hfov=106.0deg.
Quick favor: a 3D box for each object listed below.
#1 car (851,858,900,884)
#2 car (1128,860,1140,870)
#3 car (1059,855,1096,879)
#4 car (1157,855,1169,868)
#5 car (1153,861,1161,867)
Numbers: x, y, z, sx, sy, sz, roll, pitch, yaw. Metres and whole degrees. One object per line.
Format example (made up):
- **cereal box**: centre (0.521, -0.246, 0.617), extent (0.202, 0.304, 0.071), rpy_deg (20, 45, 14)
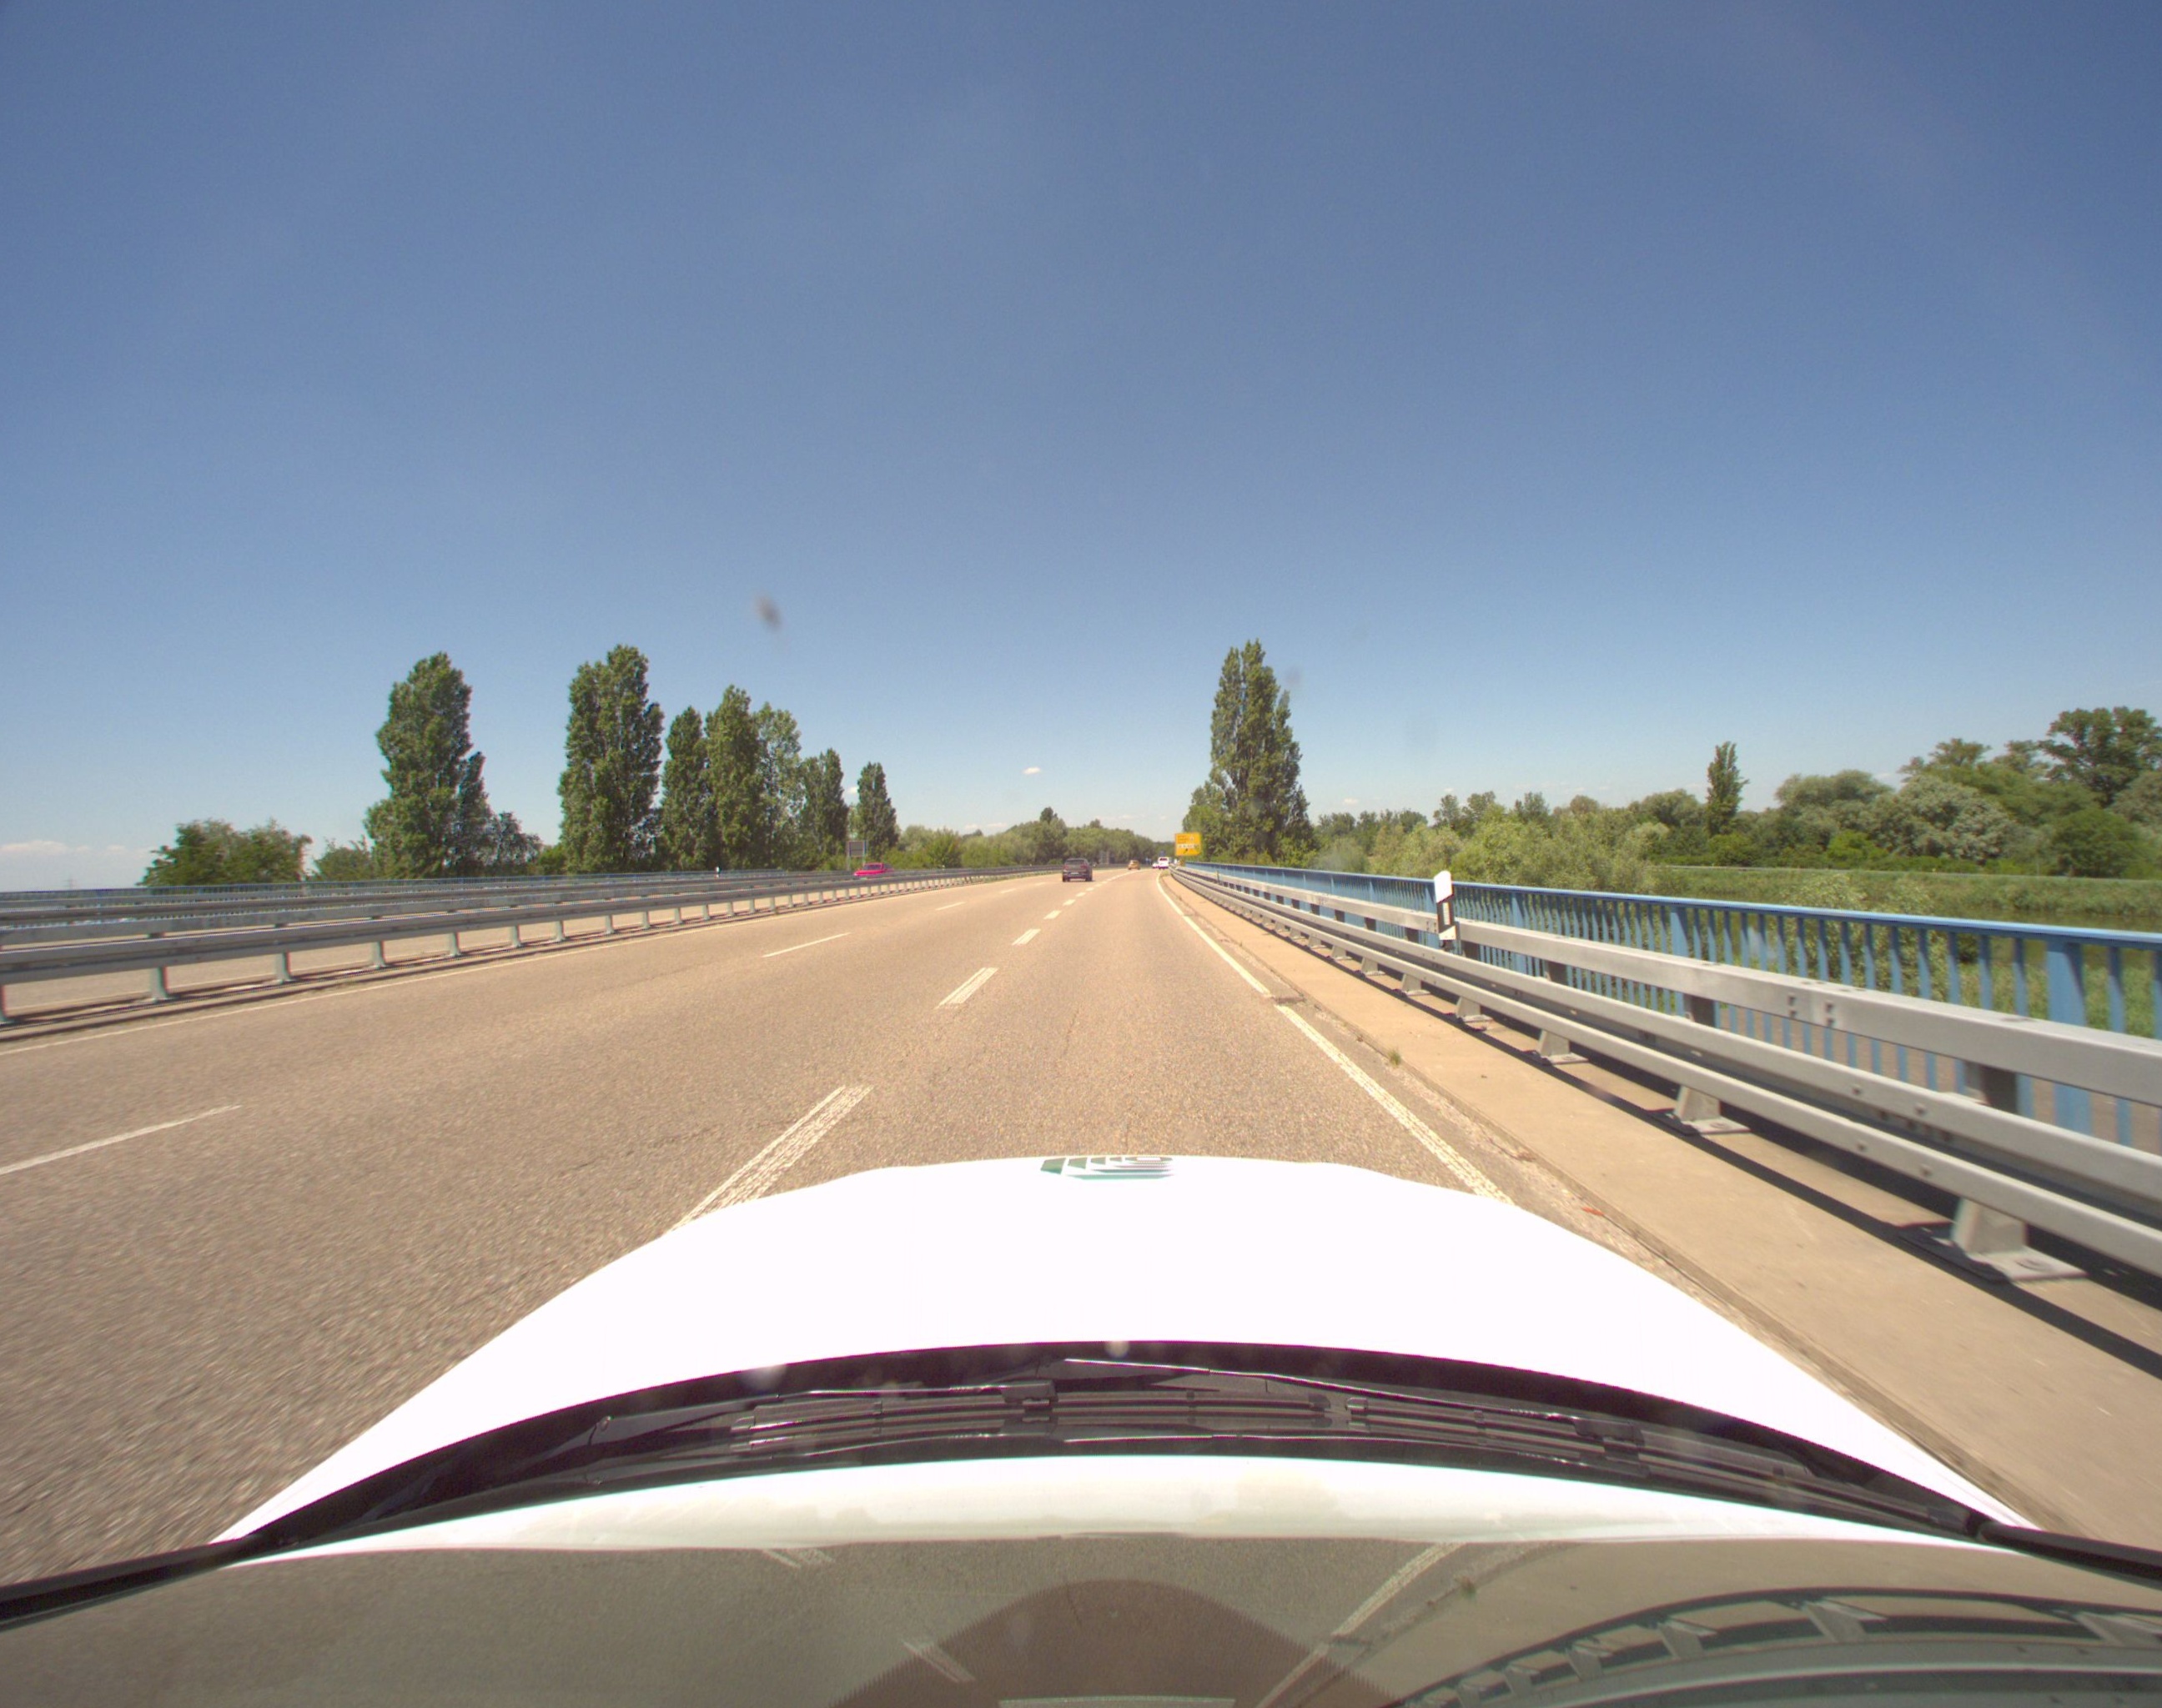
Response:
- **car**: centre (-14.111, 1.174, 56.123), extent (1.836, 1.668, 5.054), rpy_deg (-2, -1, 3)
- **car**: centre (8.505, 1.786, 130.023), extent (1.833, 1.464, 4.005), rpy_deg (0, 0, 4)
- **car**: centre (-0.181, 0.865, 55.167), extent (1.830, 1.530, 4.481), rpy_deg (0, 0, 8)
- **car**: centre (13.009, 1.172, 128.768), extent (1.833, 1.895, 4.005), rpy_deg (0, 0, 4)
- **car**: centre (18.768, 2.459, 202.094), extent (1.833, 1.451, 4.003), rpy_deg (0, 0, 3)
